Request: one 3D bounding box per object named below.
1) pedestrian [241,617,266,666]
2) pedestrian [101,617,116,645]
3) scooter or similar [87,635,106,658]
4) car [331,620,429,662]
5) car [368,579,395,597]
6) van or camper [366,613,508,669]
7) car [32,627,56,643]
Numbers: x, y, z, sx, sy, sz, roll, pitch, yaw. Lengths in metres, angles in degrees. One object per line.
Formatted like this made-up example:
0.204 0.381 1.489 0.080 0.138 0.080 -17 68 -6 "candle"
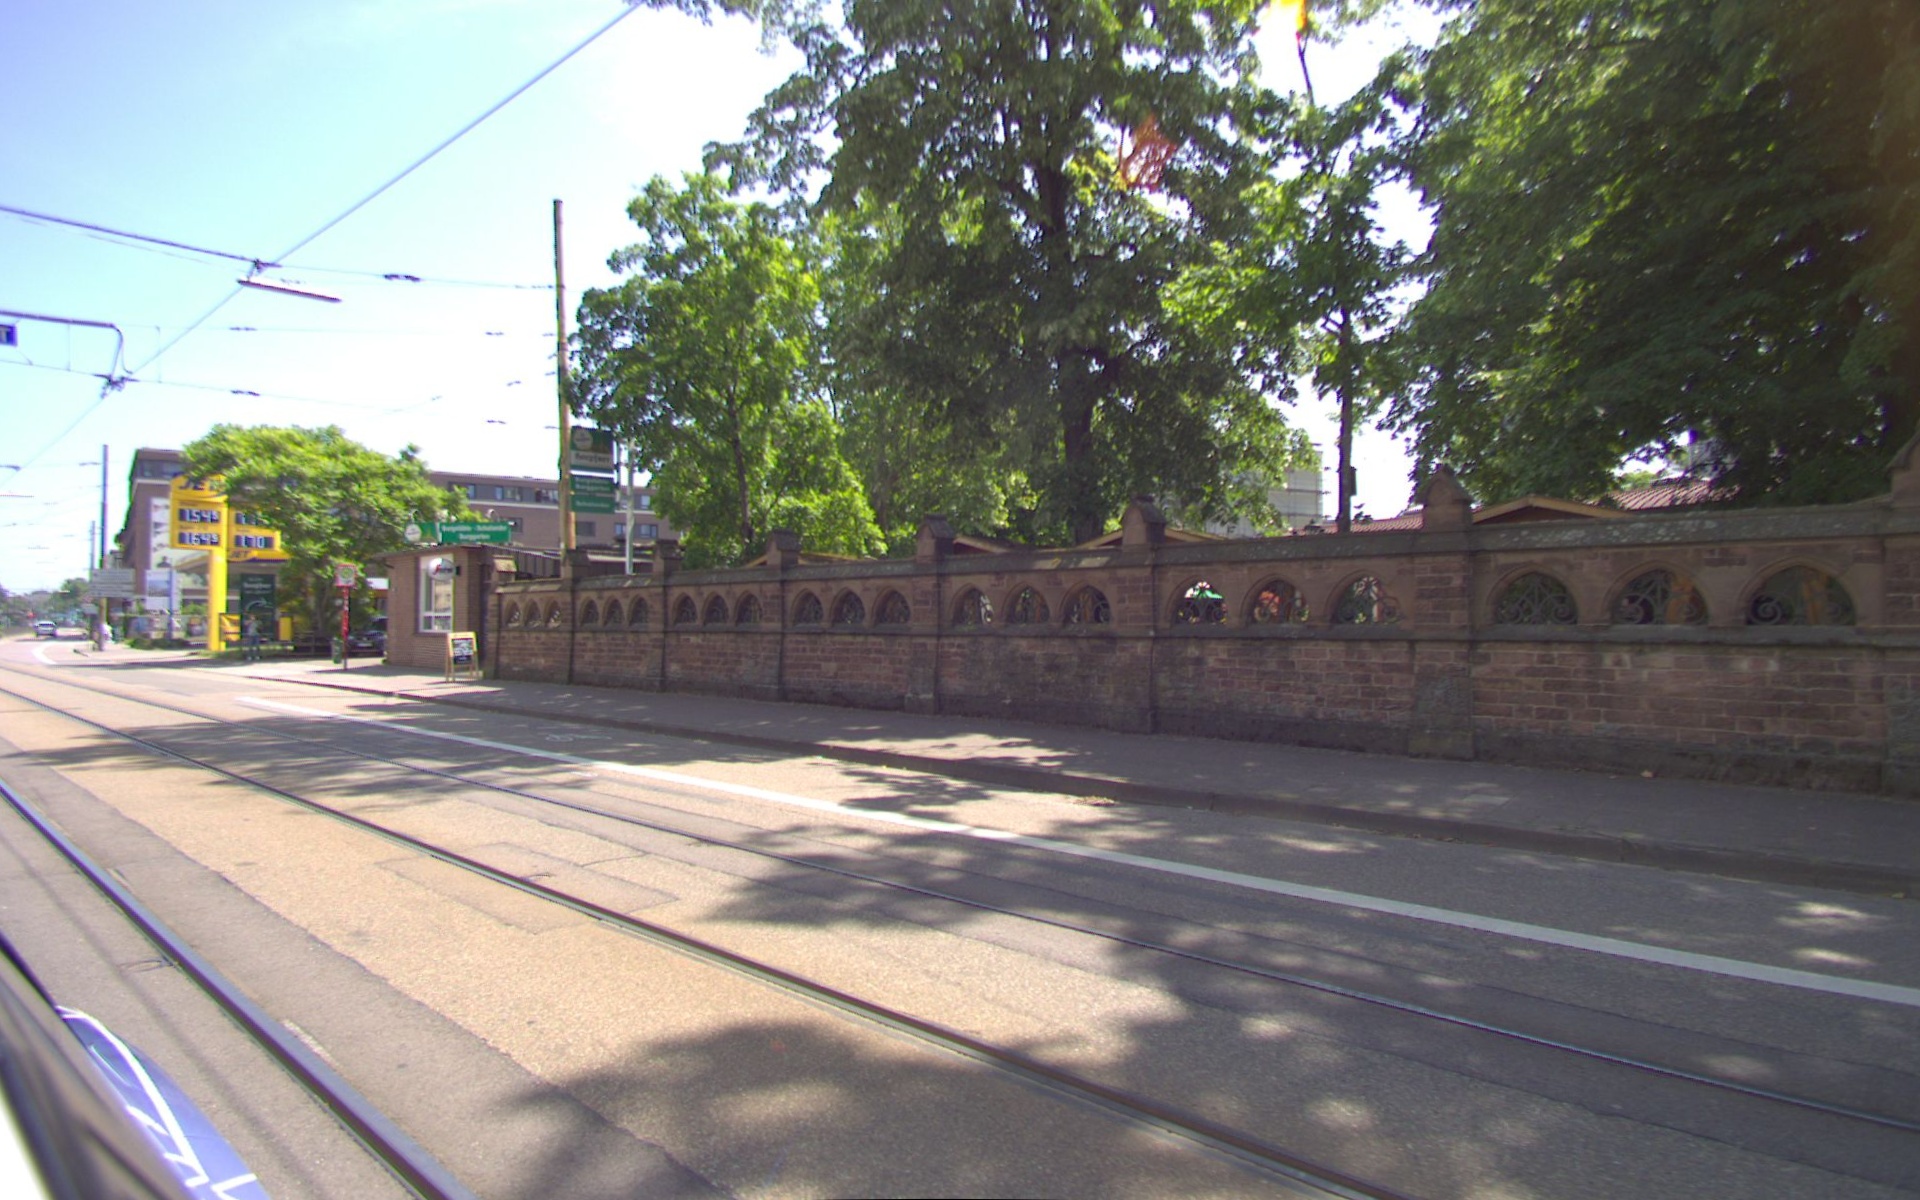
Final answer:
-26.396 1.536 37.797 0.698 1.789 0.574 -2 -1 38 "pedestrian"
-53.008 1.926 63.014 0.616 1.704 0.724 1 -2 -35 "pedestrian"
-46.352 2.487 54.324 1.375 1.209 0.513 -2 -1 39 "scooter or similar"
-23.025 1.605 40.360 1.904 1.500 4.460 -1 -1 -9 "car"
-53.859 -1.115 94.135 1.709 1.479 4.009 0 -1 -37 "car"
-17.179 1.323 33.347 1.870 1.641 3.745 -3 -1 41 "van or camper"
-107.324 4.086 118.592 1.969 1.813 4.560 -1 0 -41 "car"
